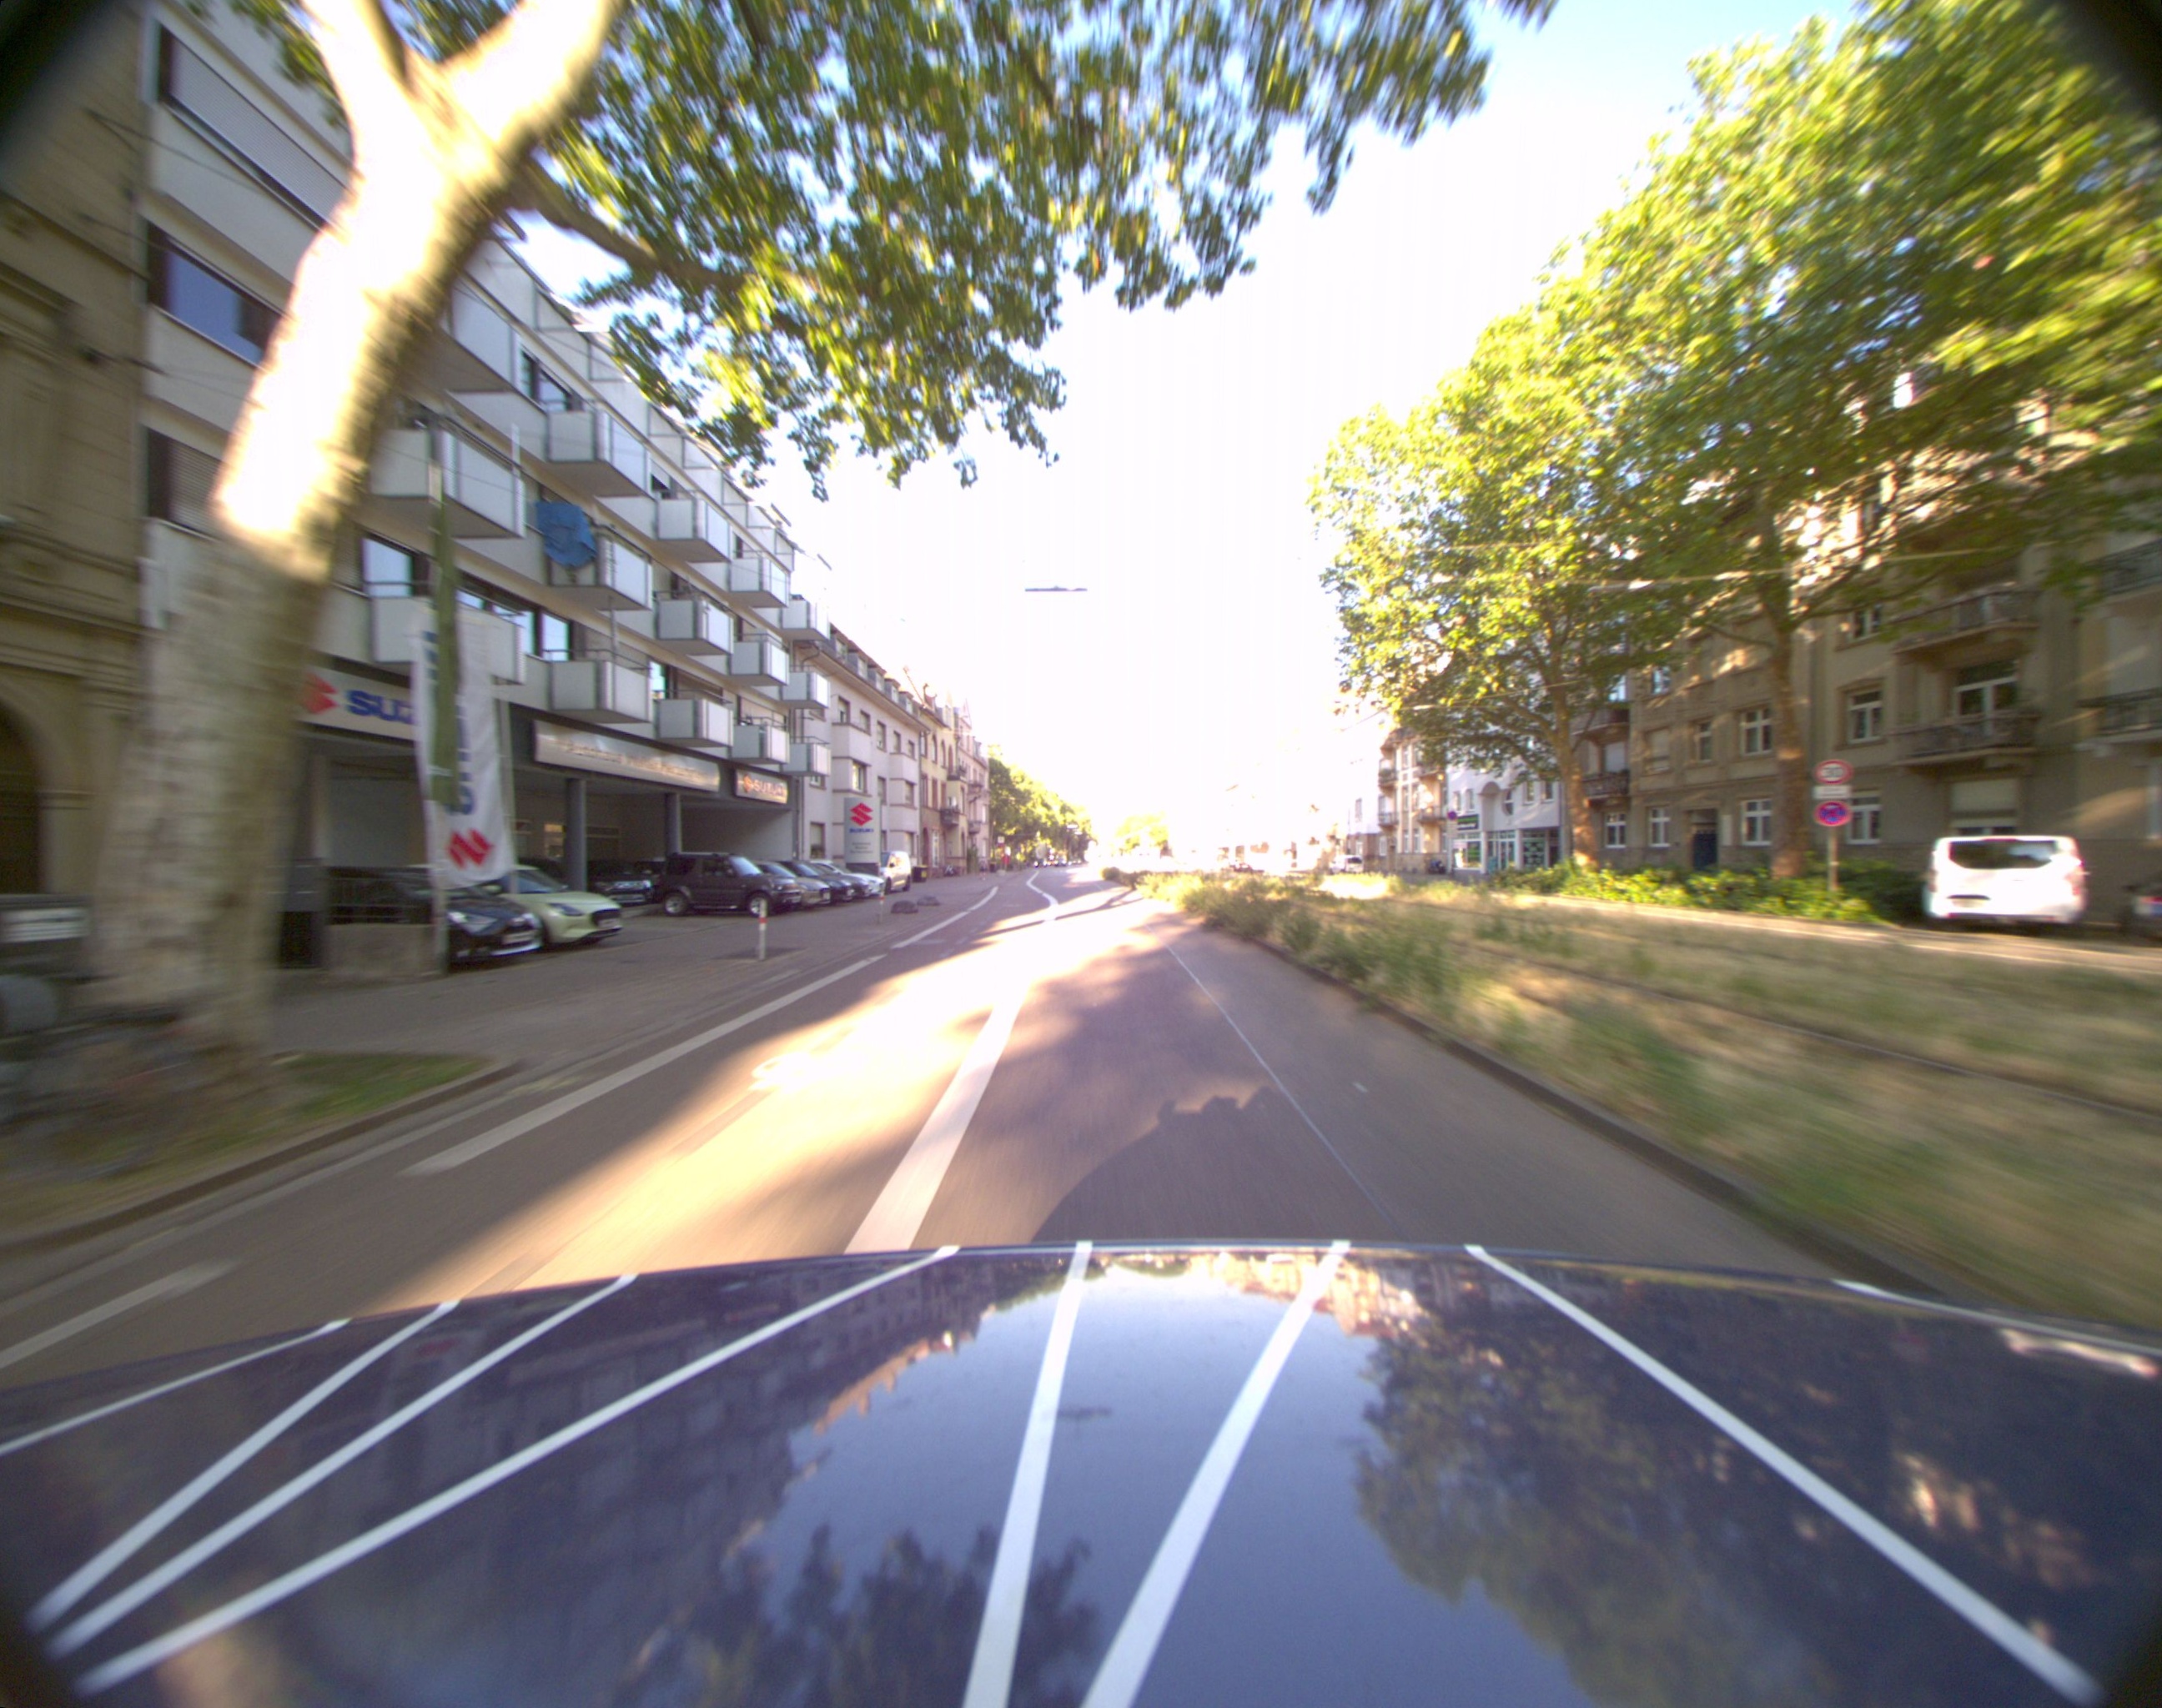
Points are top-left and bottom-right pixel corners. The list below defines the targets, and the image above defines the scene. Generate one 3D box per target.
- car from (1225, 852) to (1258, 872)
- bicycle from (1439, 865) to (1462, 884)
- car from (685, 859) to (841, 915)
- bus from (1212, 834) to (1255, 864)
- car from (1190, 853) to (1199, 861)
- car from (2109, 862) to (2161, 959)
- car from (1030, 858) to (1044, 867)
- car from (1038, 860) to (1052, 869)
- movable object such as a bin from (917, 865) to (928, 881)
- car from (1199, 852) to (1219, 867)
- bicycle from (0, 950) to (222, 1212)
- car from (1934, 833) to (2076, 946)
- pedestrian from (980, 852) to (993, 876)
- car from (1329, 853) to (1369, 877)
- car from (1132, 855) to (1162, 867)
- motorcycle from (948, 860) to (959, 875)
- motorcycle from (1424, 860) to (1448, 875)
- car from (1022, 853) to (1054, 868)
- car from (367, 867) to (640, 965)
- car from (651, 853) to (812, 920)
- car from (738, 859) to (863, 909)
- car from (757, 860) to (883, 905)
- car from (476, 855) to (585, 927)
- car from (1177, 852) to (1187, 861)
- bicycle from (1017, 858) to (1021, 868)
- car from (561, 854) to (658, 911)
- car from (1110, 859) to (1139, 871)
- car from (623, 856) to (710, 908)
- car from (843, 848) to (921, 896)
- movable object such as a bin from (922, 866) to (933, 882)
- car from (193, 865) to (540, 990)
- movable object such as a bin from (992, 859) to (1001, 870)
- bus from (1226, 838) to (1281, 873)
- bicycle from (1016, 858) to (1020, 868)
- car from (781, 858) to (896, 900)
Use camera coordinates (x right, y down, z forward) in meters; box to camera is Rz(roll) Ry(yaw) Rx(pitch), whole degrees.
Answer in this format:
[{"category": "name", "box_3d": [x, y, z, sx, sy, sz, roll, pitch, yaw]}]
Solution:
[{"category": "car", "box_3d": [13.097, 0.641, 62.132, 1.720, 1.477, 4.699, 2, 0, 1]}, {"category": "bicycle", "box_3d": [22.446, 1.248, 46.176, 0.758, 1.027, 1.896, -6, 0, 15]}, {"category": "car", "box_3d": [-9.383, 0.952, 22.665, 3.829, 1.532, 1.859, -1, 0, 0]}, {"category": "bus", "box_3d": [17.910, -0.652, 89.956, 3.273, 3.355, 9.897, -1, 1, 1]}, {"category": "car", "box_3d": [21.714, 0.550, 145.589, 1.735, 1.471, 3.817, 0, 0, 9]}, {"category": "car", "box_3d": [19.521, 0.923, 13.145, 4.185, 1.482, 1.717, -1, 1, -41]}, {"category": "car", "box_3d": [-7.752, 1.524, 134.181, 1.877, 1.586, 4.001, -1, 0, 5]}, {"category": "car", "box_3d": [-6.060, 1.785, 129.760, 1.877, 1.586, 4.001, -1, 0, 5]}, {"category": "movable object such as a bin", "box_3d": [-9.880, 1.176, 47.321, 0.555, 0.964, 0.585, -1, 2, 3]}, {"category": "car", "box_3d": [14.789, 0.619, 87.952, 1.934, 1.674, 4.000, -1, 1, 4]}, {"category": "bicycle", "box_3d": [-5.372, 1.091, 3.567, 1.852, 1.136, 0.348, -1, 2, -15]}, {"category": "car", "box_3d": [19.562, 0.620, 16.243, 5.257, 2.054, 1.717, -1, 1, -41]}, {"category": "pedestrian", "box_3d": [-7.029, 0.741, 56.600, 0.831, 1.802, 1.150, -1, 1, -1]}, {"category": "car", "box_3d": [22.519, 0.894, 64.098, 1.908, 1.776, 4.653, -1, 1, 3]}, {"category": "car", "box_3d": [9.088, 0.895, 104.220, 4.124, 1.565, 1.716, -1, 1, 6]}, {"category": "motorcycle", "box_3d": [-10.293, 1.105, 61.539, 0.591, 1.131, 2.504, -1, 1, -3]}, {"category": "motorcycle", "box_3d": [26.092, 0.966, 55.880, 0.529, 1.015, 2.420, -3, 0, 0]}, {"category": "car", "box_3d": [-5.885, 0.852, 104.163, 3.995, 2.002, 2.000, -1, 1, 4]}, {"category": "car", "box_3d": [-9.965, 1.032, 13.307, 3.426, 1.510, 1.757, -1, 1, 3]}, {"category": "car", "box_3d": [-9.389, 0.864, 20.586, 3.589, 1.709, 1.682, -1, -1, 3]}, {"category": "car", "box_3d": [-9.132, 0.968, 24.924, 3.426, 1.516, 1.741, -1, 0, 3]}, {"category": "car", "box_3d": [-9.255, 0.982, 27.171, 3.879, 1.505, 1.809, -1, 0, -1]}, {"category": "car", "box_3d": [-14.186, 0.875, 19.515, 3.590, 1.647, 1.621, 0, 0, 44]}, {"category": "car", "box_3d": [23.411, 0.623, 175.772, 1.919, 1.889, 4.309, -1, 1, 2]}, {"category": "bicycle", "box_3d": [-7.157, 1.029, 87.807, 0.370, 1.062, 1.874, -1, 0, 0]}, {"category": "car", "box_3d": [-14.063, 0.787, 22.603, 3.516, 1.554, 1.613, 0, 0, 44]}, {"category": "car", "box_3d": [6.170, 1.556, 107.890, 3.996, 1.696, 1.836, -1, 1, 2]}, {"category": "car", "box_3d": [-13.454, 0.848, 24.596, 3.339, 1.554, 1.508, 0, 0, 44]}, {"category": "car", "box_3d": [-8.884, 0.747, 34.356, 1.897, 1.937, 4.901, -1, 1, 4]}, {"category": "movable object such as a bin", "box_3d": [-9.797, 1.266, 48.397, 0.555, 0.964, 0.585, -1, 2, 3]}, {"category": "car", "box_3d": [-9.901, 0.974, 10.725, 3.427, 1.538, 1.442, -1, 1, -2]}, {"category": "movable object such as a bin", "box_3d": [-8.782, 1.079, 78.908, 0.657, 1.040, 0.659, 0, 2, 13]}, {"category": "bus", "box_3d": [17.677, 0.051, 78.919, 3.262, 3.355, 11.976, -1, 1, 1]}, {"category": "bicycle", "box_3d": [-7.022, 1.017, 84.734, 0.438, 1.092, 1.931, -1, 0, -3]}, {"category": "car", "box_3d": [-9.363, 0.961, 29.566, 3.820, 1.492, 1.914, -1, -1, 2]}]
